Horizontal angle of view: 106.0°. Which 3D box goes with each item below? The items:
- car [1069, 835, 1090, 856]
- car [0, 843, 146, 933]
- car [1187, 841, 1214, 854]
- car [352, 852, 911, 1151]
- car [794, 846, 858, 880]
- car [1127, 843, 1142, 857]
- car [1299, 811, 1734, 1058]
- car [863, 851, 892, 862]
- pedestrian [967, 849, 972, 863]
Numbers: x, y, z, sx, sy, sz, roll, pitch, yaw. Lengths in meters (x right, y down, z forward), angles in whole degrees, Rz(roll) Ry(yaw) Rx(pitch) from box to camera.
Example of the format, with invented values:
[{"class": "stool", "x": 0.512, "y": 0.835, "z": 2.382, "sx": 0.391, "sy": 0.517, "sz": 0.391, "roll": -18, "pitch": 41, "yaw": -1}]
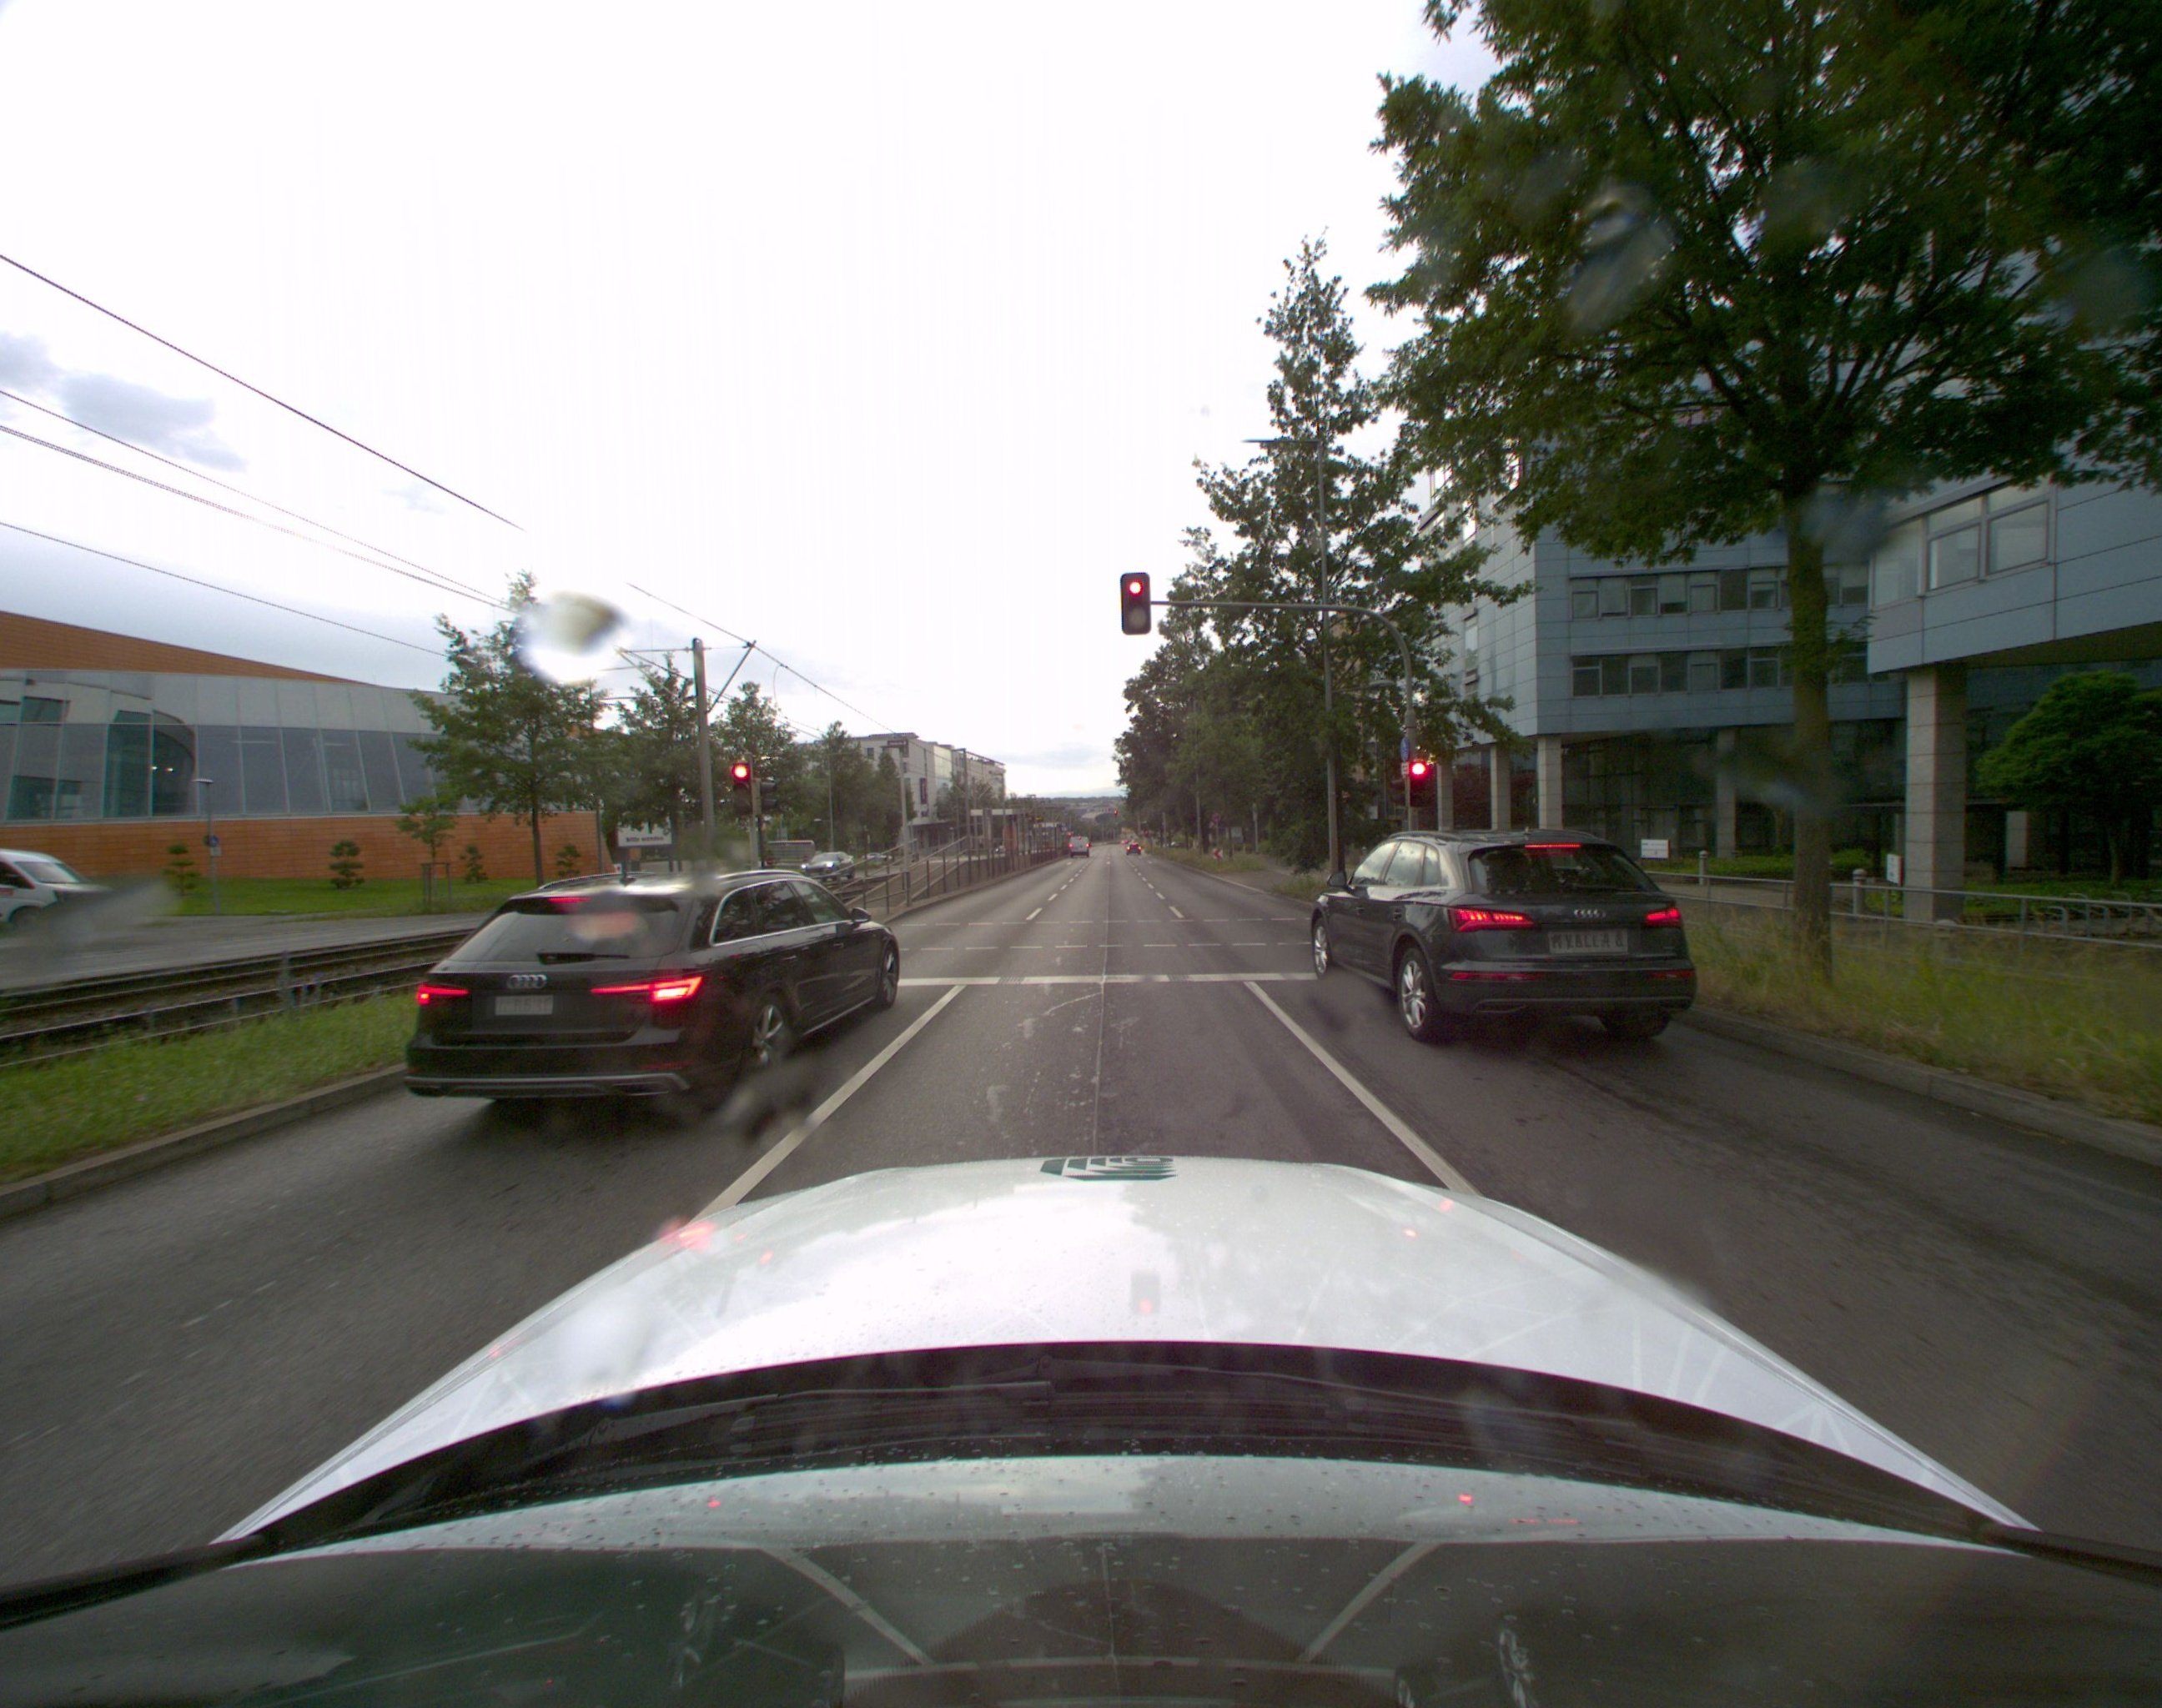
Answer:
[{"class": "car", "x": -0.149, "y": -0.987, "z": 90.638, "sx": 2.085, "sy": 2.053, "sz": 4.610, "roll": -1, "pitch": 3, "yaw": 2}, {"class": "car", "x": -32.629, "y": 0.969, "z": 24.376, "sx": 5.616, "sy": 2.581, "sz": 2.393, "roll": 1, "pitch": 0, "yaw": -16}, {"class": "car", "x": 19.270, "y": -0.985, "z": 131.649, "sx": 3.982, "sy": 2.013, "sz": 1.756, "roll": -1, "pitch": 0, "yaw": -7}, {"class": "car", "x": -2.785, "y": 0.755, "z": 6.447, "sx": 1.774, "sy": 1.466, "sz": 4.515, "roll": -1, "pitch": 1, "yaw": 2}, {"class": "car", "x": -14.718, "y": 0.491, "z": 47.282, "sx": 1.986, "sy": 1.719, "sz": 4.843, "roll": -3, "pitch": 1, "yaw": 2}, {"class": "car", "x": 6.700, "y": -0.483, "z": 101.903, "sx": 1.767, "sy": 1.691, "sz": 3.847, "roll": -1, "pitch": 1, "yaw": 2}, {"class": "car", "x": 3.508, "y": 0.515, "z": 7.677, "sx": 1.811, "sy": 1.612, "sz": 4.472, "roll": -1, "pitch": 1, "yaw": 2}, {"class": "car", "x": -31.280, "y": 0.404, "z": 125.221, "sx": 3.857, "sy": 1.436, "sz": 1.655, "roll": -4, "pitch": 0, "yaw": -2}, {"class": "pedestrian", "x": -15.105, "y": 0.270, "z": 110.441, "sx": 0.473, "sy": 1.920, "sz": 0.490, "roll": -1, "pitch": 0, "yaw": 1}]
